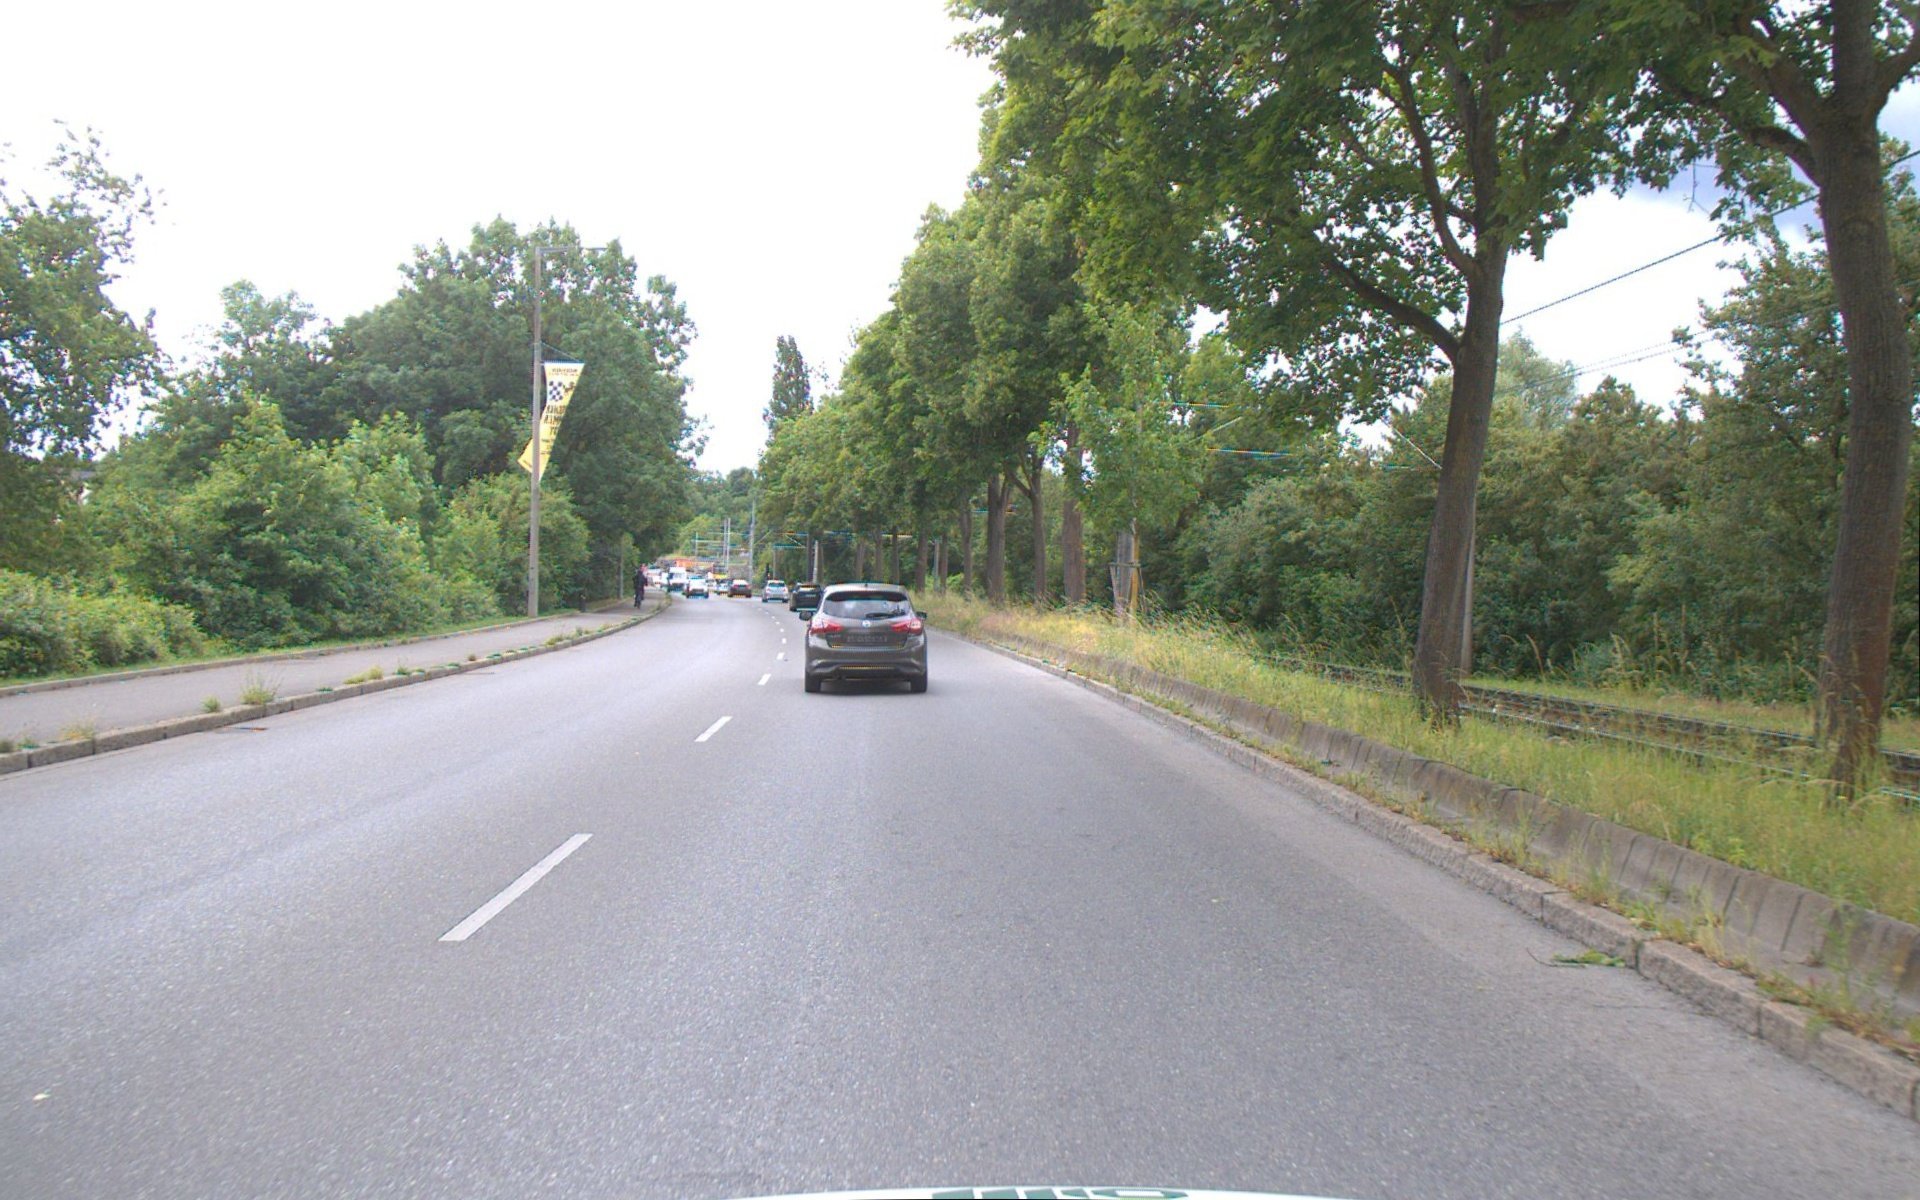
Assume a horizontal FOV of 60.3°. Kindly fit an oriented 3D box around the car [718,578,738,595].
[{"bbox_3d":[-21.818,-1.276,155.554,1.742,1.497,3.994,2,1,-8],"label":"car"}]

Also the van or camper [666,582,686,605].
[{"bbox_3d":[-29.599,-0.723,172.510,1.891,2.188,3.922,3,1,-11],"label":"van or camper"}]

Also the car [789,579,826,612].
[{"bbox_3d":[-7.825,-0.253,84.917,1.741,1.497,3.997,4,1,-5],"label":"car"}]

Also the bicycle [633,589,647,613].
[{"bbox_3d":[-14.884,0.040,76.847,0.478,1.048,1.123,3,1,-5],"label":"bicycle"}]

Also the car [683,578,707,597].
[{"bbox_3d":[-21.449,-1.015,134.005,1.716,1.489,3.914,3,0,-8],"label":"car"}]

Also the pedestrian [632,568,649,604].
[{"bbox_3d":[-14.857,-0.647,76.807,0.605,1.598,0.848,3,1,-6],"label":"pedestrian"}]

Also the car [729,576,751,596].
[{"bbox_3d":[-18.855,-1.203,141.736,1.743,1.497,3.994,3,1,-8],"label":"car"}]

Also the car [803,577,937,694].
[{"bbox_3d":[-1.420,0.461,24.652,1.781,1.534,3.995,1,1,-6],"label":"car"}]

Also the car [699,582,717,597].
[{"bbox_3d":[-27.007,-1.141,177.248,1.743,1.497,3.994,3,1,-8],"label":"car"}]

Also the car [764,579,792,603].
[{"bbox_3d":[-12.573,-0.636,114.087,1.742,1.497,3.994,3,1,-7],"label":"car"}]

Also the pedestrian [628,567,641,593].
[{"bbox_3d":[-20.944,-1.276,106.314,0.682,1.650,0.683,3,1,-6],"label":"pedestrian"}]
